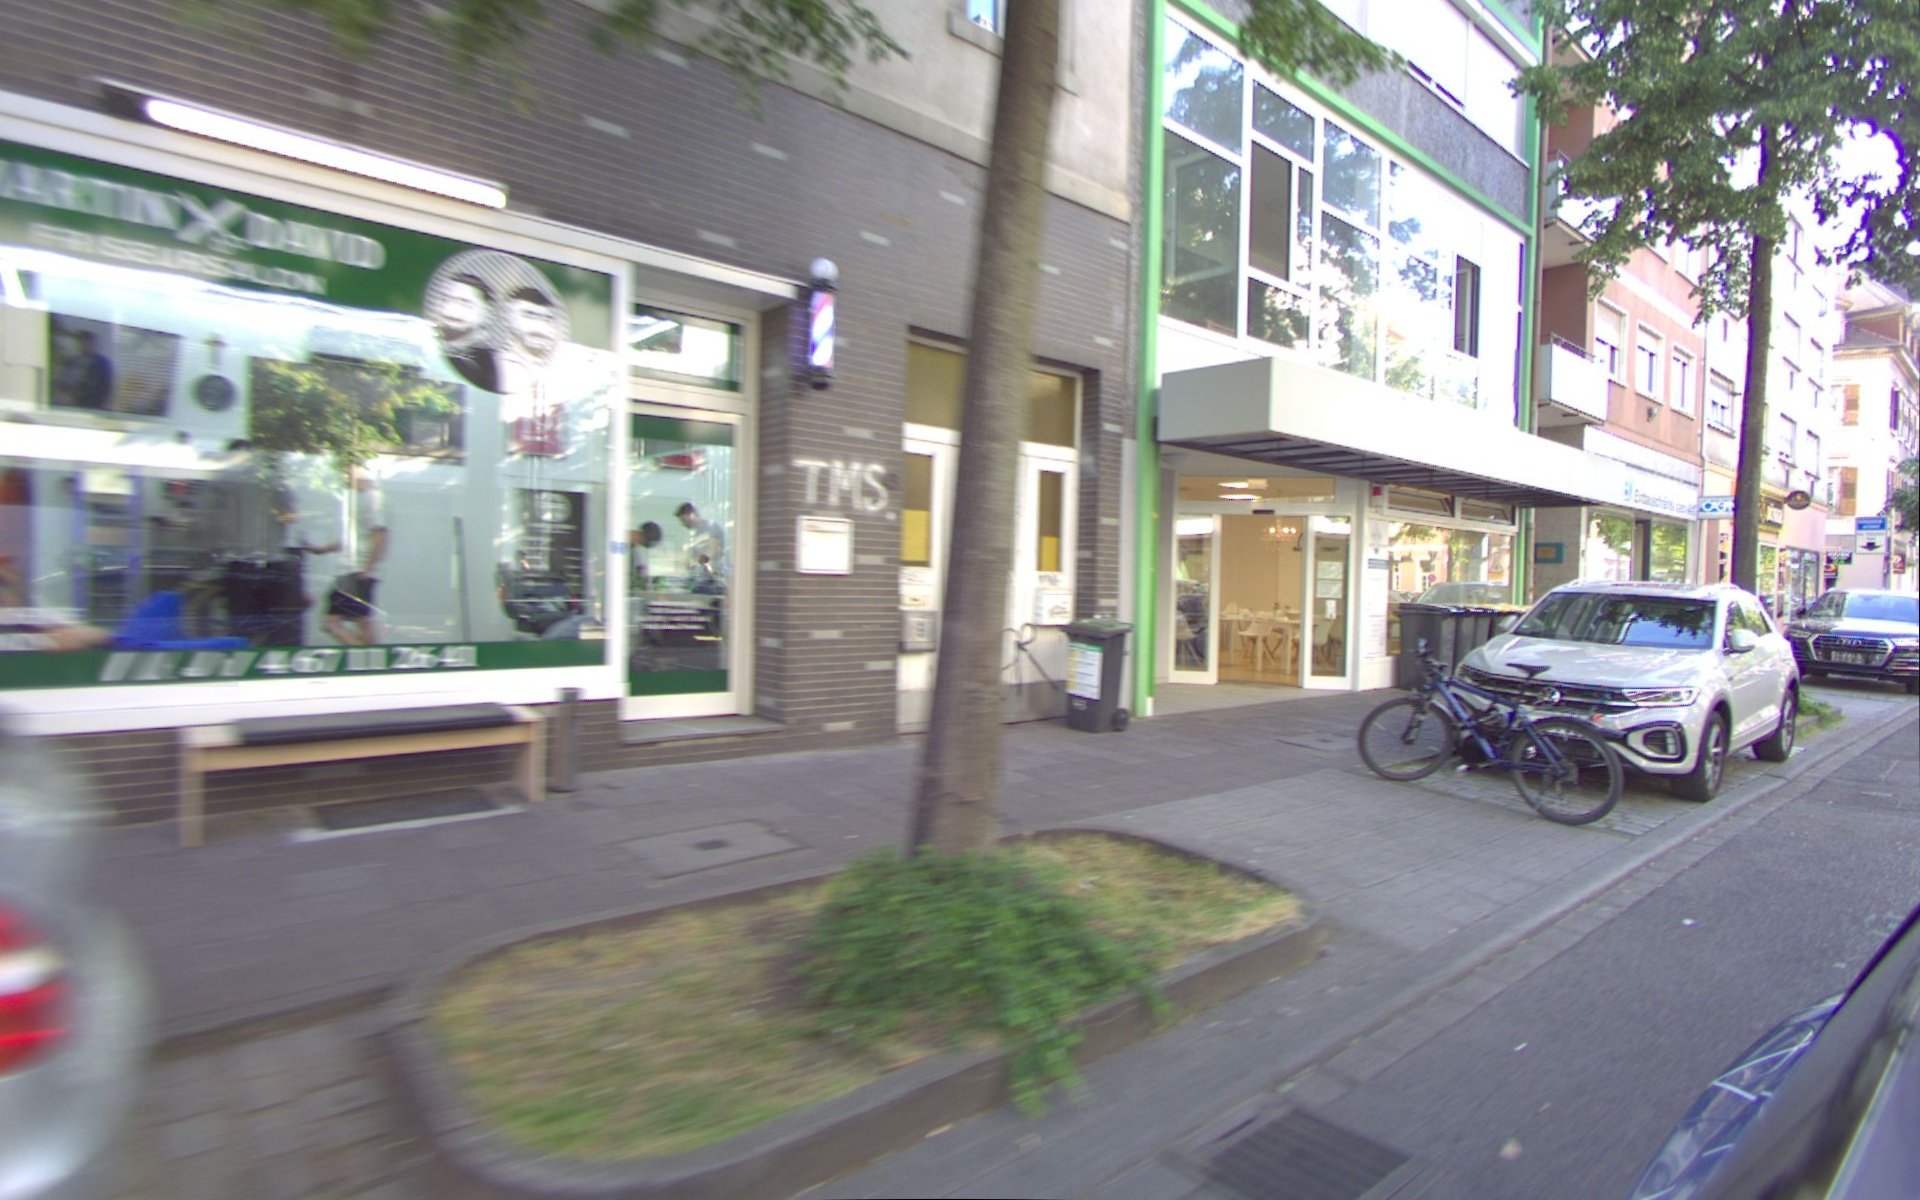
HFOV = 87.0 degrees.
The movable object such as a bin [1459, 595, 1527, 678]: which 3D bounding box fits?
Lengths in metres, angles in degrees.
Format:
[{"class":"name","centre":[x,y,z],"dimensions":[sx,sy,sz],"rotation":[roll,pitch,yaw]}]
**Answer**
[{"class":"movable object such as a bin","centre":[7.308,0.481,13.875],"dimensions":[0.579,1.077,0.615],"rotation":[0,2,-40]}]

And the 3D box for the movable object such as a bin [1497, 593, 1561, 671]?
[{"class":"movable object such as a bin","centre":[8.231,0.448,14.649],"dimensions":[0.579,1.077,0.612],"rotation":[0,2,-40]}]

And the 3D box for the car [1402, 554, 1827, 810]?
[{"class":"car","centre":[5.620,0.490,8.481],"dimensions":[4.161,1.545,1.887],"rotation":[0,4,-42]}]

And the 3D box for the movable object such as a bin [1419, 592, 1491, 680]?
[{"class":"movable object such as a bin","centre":[6.406,0.450,13.102],"dimensions":[0.579,1.077,0.615],"rotation":[0,2,-40]}]

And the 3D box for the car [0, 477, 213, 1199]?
[{"class":"car","centre":[-3.141,0.555,0.642],"dimensions":[4.162,1.547,1.617],"rotation":[0,5,-42]}]

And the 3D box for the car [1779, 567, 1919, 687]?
[{"class":"car","centre":[15.844,0.405,17.356],"dimensions":[4.438,1.709,1.998],"rotation":[0,5,-42]}]

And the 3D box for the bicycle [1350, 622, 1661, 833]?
[{"class":"bicycle","centre":[3.547,0.766,6.704],"dimensions":[0.601,1.024,1.626],"rotation":[1,6,-42]}]

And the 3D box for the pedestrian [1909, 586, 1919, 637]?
[{"class":"pedestrian","centre":[31.829,0.371,33.449],"dimensions":[0.736,1.665,0.514],"rotation":[1,3,-42]}]

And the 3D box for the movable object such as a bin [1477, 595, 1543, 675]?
[{"class":"movable object such as a bin","centre":[7.753,0.477,14.268],"dimensions":[0.579,1.077,0.615],"rotation":[0,2,-40]}]

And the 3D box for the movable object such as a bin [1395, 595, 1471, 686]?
[{"class":"movable object such as a bin","centre":[5.928,0.489,12.686],"dimensions":[0.643,1.077,0.615],"rotation":[0,2,-40]}]

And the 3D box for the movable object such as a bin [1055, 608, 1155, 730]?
[{"class":"movable object such as a bin","centre":[1.234,0.566,8.635],"dimensions":[0.643,0.968,0.524],"rotation":[0,2,-40]}]

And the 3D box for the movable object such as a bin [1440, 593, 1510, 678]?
[{"class":"movable object such as a bin","centre":[6.861,0.454,13.487],"dimensions":[0.579,1.077,0.615],"rotation":[0,2,-40]}]
